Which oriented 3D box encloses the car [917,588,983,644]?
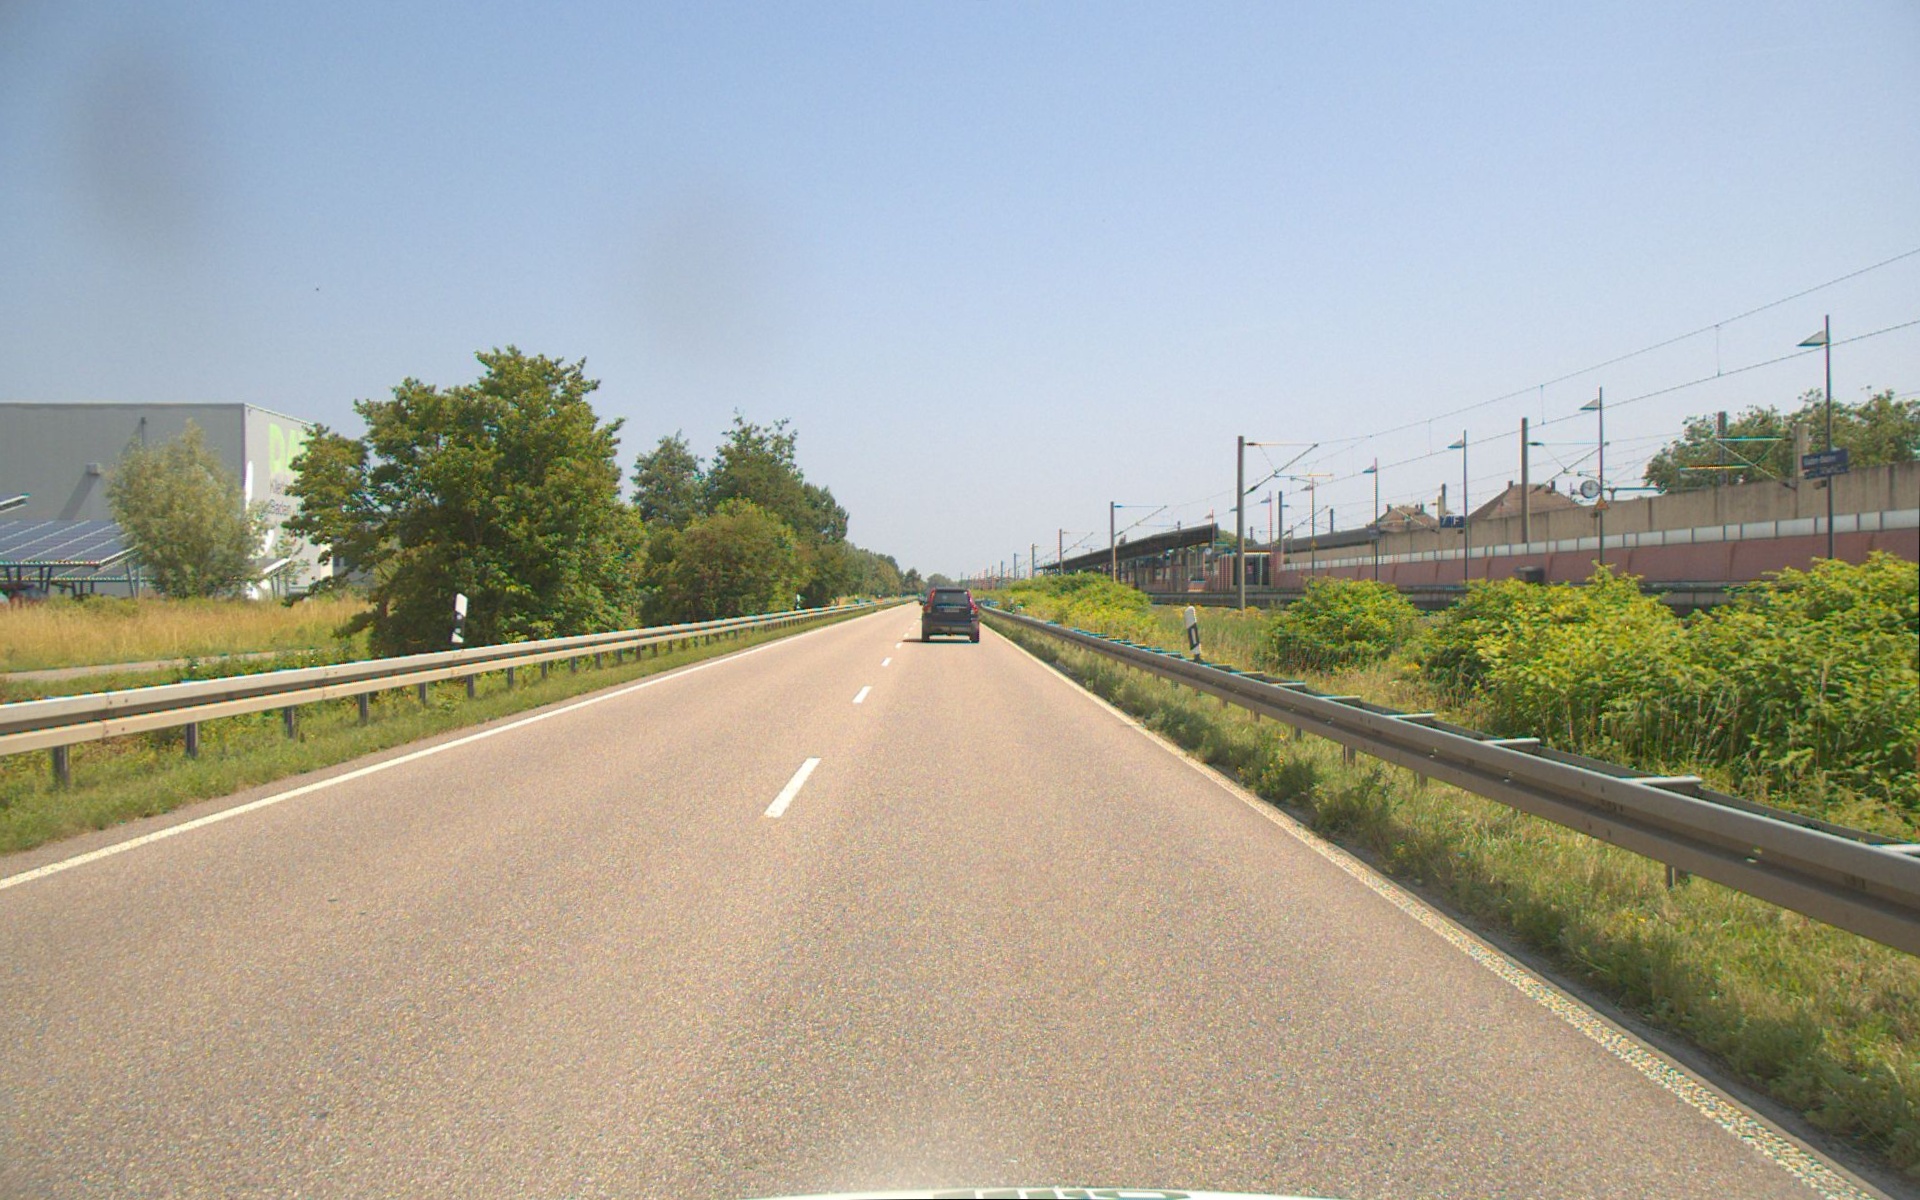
[{"bbox_3d":[-0.366,0.500,53.563,1.954,1.730,3.997,0,0,-3],"label":"car"}]

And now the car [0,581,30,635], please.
[{"bbox_3d":[-37.008,0.304,61.818,1.953,2.049,4.516,0,0,0],"label":"car"}]
